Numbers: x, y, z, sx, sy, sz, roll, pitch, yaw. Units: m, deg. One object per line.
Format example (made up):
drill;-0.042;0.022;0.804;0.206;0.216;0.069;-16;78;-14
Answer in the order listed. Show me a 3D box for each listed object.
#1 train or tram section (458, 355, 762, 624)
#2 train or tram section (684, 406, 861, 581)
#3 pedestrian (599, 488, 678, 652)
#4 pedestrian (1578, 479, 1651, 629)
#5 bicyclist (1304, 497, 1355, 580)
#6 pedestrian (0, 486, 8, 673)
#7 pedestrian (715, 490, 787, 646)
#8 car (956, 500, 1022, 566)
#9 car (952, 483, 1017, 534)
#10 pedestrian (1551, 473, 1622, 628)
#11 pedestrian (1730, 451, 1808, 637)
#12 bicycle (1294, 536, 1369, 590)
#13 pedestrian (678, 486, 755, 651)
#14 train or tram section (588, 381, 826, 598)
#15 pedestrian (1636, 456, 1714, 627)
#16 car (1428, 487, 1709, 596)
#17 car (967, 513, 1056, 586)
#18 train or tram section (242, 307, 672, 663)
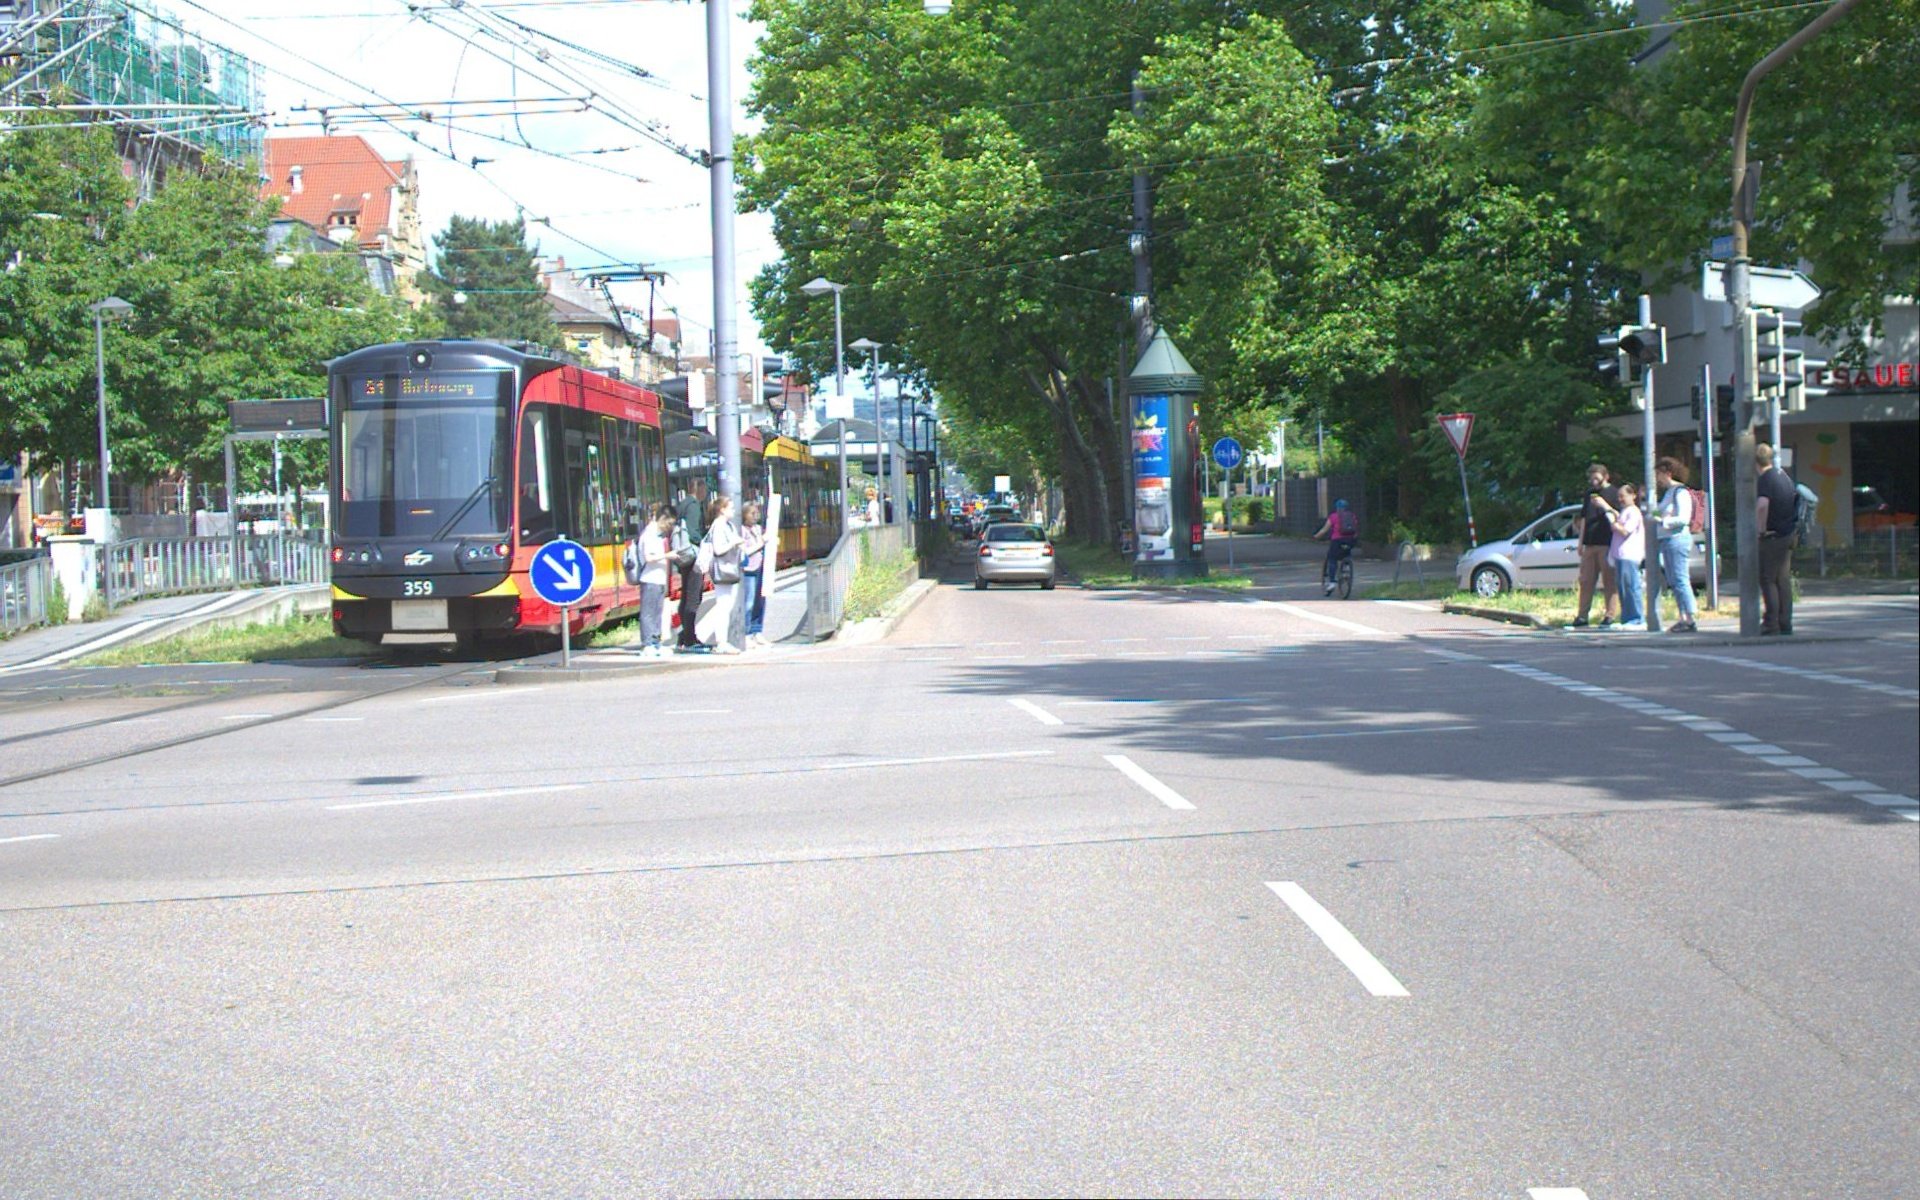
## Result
train or tram section;-5.078;-1.666;52.298;2.806;3.548;11.181;-2;2;3
train or tram section;-3.952;-2.300;74.542;2.766;3.471;8.907;-2;2;3
pedestrian;-3.386;-0.322;36.236;0.669;1.697;0.648;-2;1;3
pedestrian;7.046;-0.496;37.011;0.510;1.592;0.556;-2;1;-20
bicyclist;6.281;-1.042;58.431;0.615;1.380;0.879;-2;1;-8
pedestrian;-10.701;-0.201;36.733;0.738;2.006;0.704;-2;1;6
pedestrian;-2.319;-0.365;38.160;0.669;1.697;0.648;-2;1;3
car;0.929;-2.130;108.358;1.993;2.007;4.000;-1;1;2
car;0.638;-2.454;91.955;1.485;1.310;4.001;-1;2;-3
pedestrian;6.840;-0.546;37.552;0.510;1.665;0.556;-2;1;-20
pedestrian;8.005;-0.553;34.016;0.481;1.819;0.555;-1;2;43
bicycle;6.301;-0.637;58.449;0.615;0.877;2.538;-2;2;-9
pedestrian;-2.557;-0.339;36.135;0.669;1.697;0.648;-2;1;3
train or tram section;-4.502;-2.047;63.959;2.806;3.548;12.156;-2;2;3
pedestrian;7.401;-0.607;35.600;0.527;1.729;0.556;-2;1;-20
car;8.976;-0.855;50.824;3.667;1.479;1.733;-1;2;34
car;1.136;-1.109;74.235;1.748;1.448;3.605;-2;2;3
train or tram section;-5.651;-1.350;41.052;2.796;3.548;11.377;-2;2;3
